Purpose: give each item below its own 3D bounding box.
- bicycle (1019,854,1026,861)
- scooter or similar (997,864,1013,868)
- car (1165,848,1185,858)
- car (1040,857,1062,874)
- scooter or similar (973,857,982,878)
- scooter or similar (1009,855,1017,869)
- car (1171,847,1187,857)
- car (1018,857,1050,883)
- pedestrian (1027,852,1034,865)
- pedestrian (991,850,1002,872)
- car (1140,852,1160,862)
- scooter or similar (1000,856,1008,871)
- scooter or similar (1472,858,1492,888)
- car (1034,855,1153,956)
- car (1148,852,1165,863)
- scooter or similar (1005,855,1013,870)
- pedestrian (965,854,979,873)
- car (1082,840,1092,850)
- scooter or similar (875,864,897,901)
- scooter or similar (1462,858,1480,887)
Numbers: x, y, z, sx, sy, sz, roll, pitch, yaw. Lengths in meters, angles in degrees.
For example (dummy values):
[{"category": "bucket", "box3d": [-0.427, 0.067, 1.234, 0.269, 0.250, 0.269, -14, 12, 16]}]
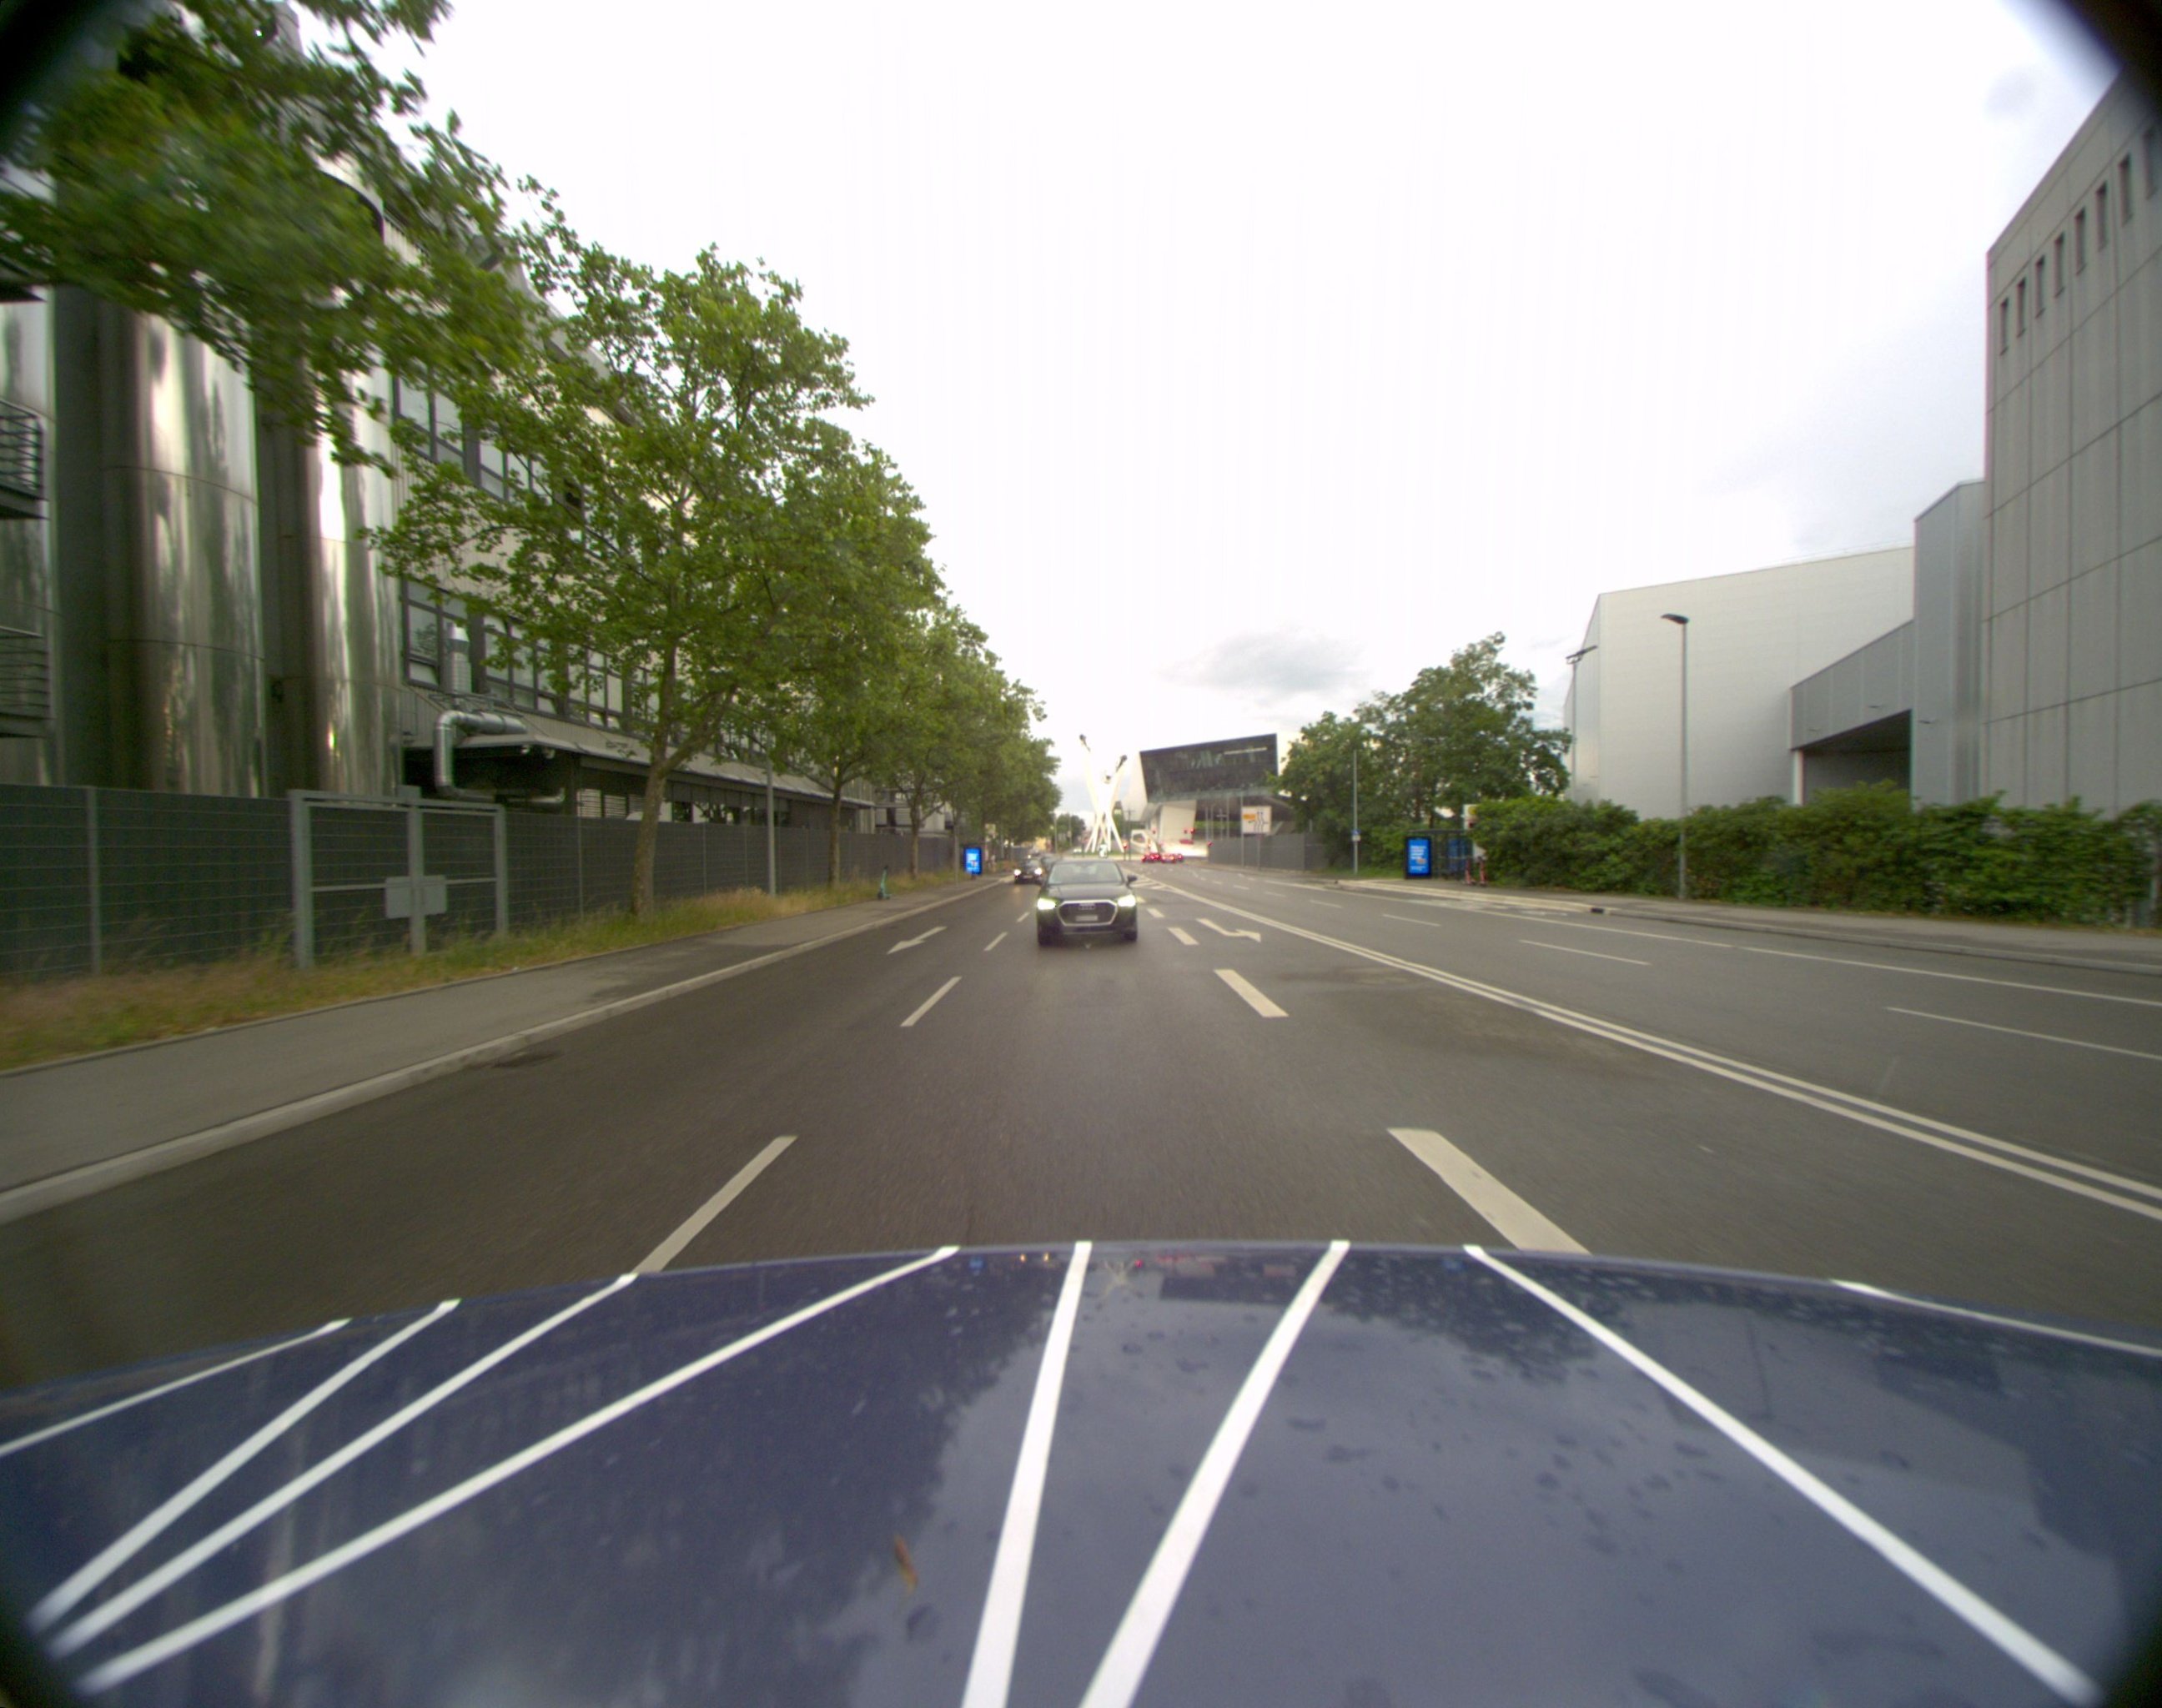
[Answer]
[{"category": "bicycle", "box3d": [-7.879, 0.518, 101.944, 0.727, 0.870, 1.904, -2, 1, -1]}, {"category": "scooter or similar", "box3d": [-7.439, 1.190, 74.705, 1.184, 0.309, 1.200, -1, 1, -28]}, {"category": "car", "box3d": [14.216, -0.199, 114.383, 2.267, 1.469, 4.052, 0, 1, 18]}, {"category": "car", "box3d": [-2.708, 1.023, 69.166, 1.842, 1.444, 4.785, -2, 0, -1]}, {"category": "scooter or similar", "box3d": [-6.691, 0.887, 49.050, 0.329, 1.301, 1.246, -1, 1, 5]}, {"category": "scooter or similar", "box3d": [-6.593, 0.793, 73.578, 0.437, 1.278, 1.301, -1, 1, 8]}, {"category": "car", "box3d": [15.708, -0.348, 121.425, 1.861, 1.641, 3.793, 0, 0, 20]}, {"category": "car", "box3d": [-2.844, 0.970, 46.478, 1.881, 1.485, 4.075, 0, 0, -3]}, {"category": "pedestrian", "box3d": [-6.105, 0.534, 91.840, 0.723, 1.610, 0.833, 2, 1, -1]}, {"category": "pedestrian", "box3d": [-6.843, 0.559, 61.744, 0.778, 1.700, 0.729, -1, 1, 0]}, {"category": "car", "box3d": [10.653, 0.513, 116.359, 2.255, 1.469, 3.884, 0, 1, 18]}, {"category": "scooter or similar", "box3d": [-6.638, 0.789, 65.406, 0.437, 1.288, 1.300, -1, 1, 3]}, {"category": "scooter or similar", "box3d": [16.220, 0.762, 30.750, 0.379, 1.174, 1.379, 0, 1, 14]}, {"category": "car", "box3d": [0.164, 0.856, 15.370, 1.951, 1.609, 5.276, -2, 0, -1]}, {"category": "car", "box3d": [12.090, 0.535, 121.444, 1.878, 1.641, 3.857, 0, 0, 16]}, {"category": "scooter or similar", "box3d": [-6.610, 0.764, 69.501, 0.437, 1.288, 1.368, -1, 1, 8]}, {"category": "pedestrian", "box3d": [-8.256, 0.689, 57.438, 0.932, 1.408, 0.698, -1, 1, 0]}, {"category": "car", "box3d": [1.242, -1.872, 155.885, 1.951, 1.879, 4.490, 0, 0, -1]}, {"category": "scooter or similar", "box3d": [-6.824, 0.994, 26.623, 0.329, 1.262, 1.109, -1, 1, 9]}, {"category": "scooter or similar", "box3d": [16.504, 0.767, 32.149, 0.389, 1.173, 1.251, 0, 1, 14]}]
